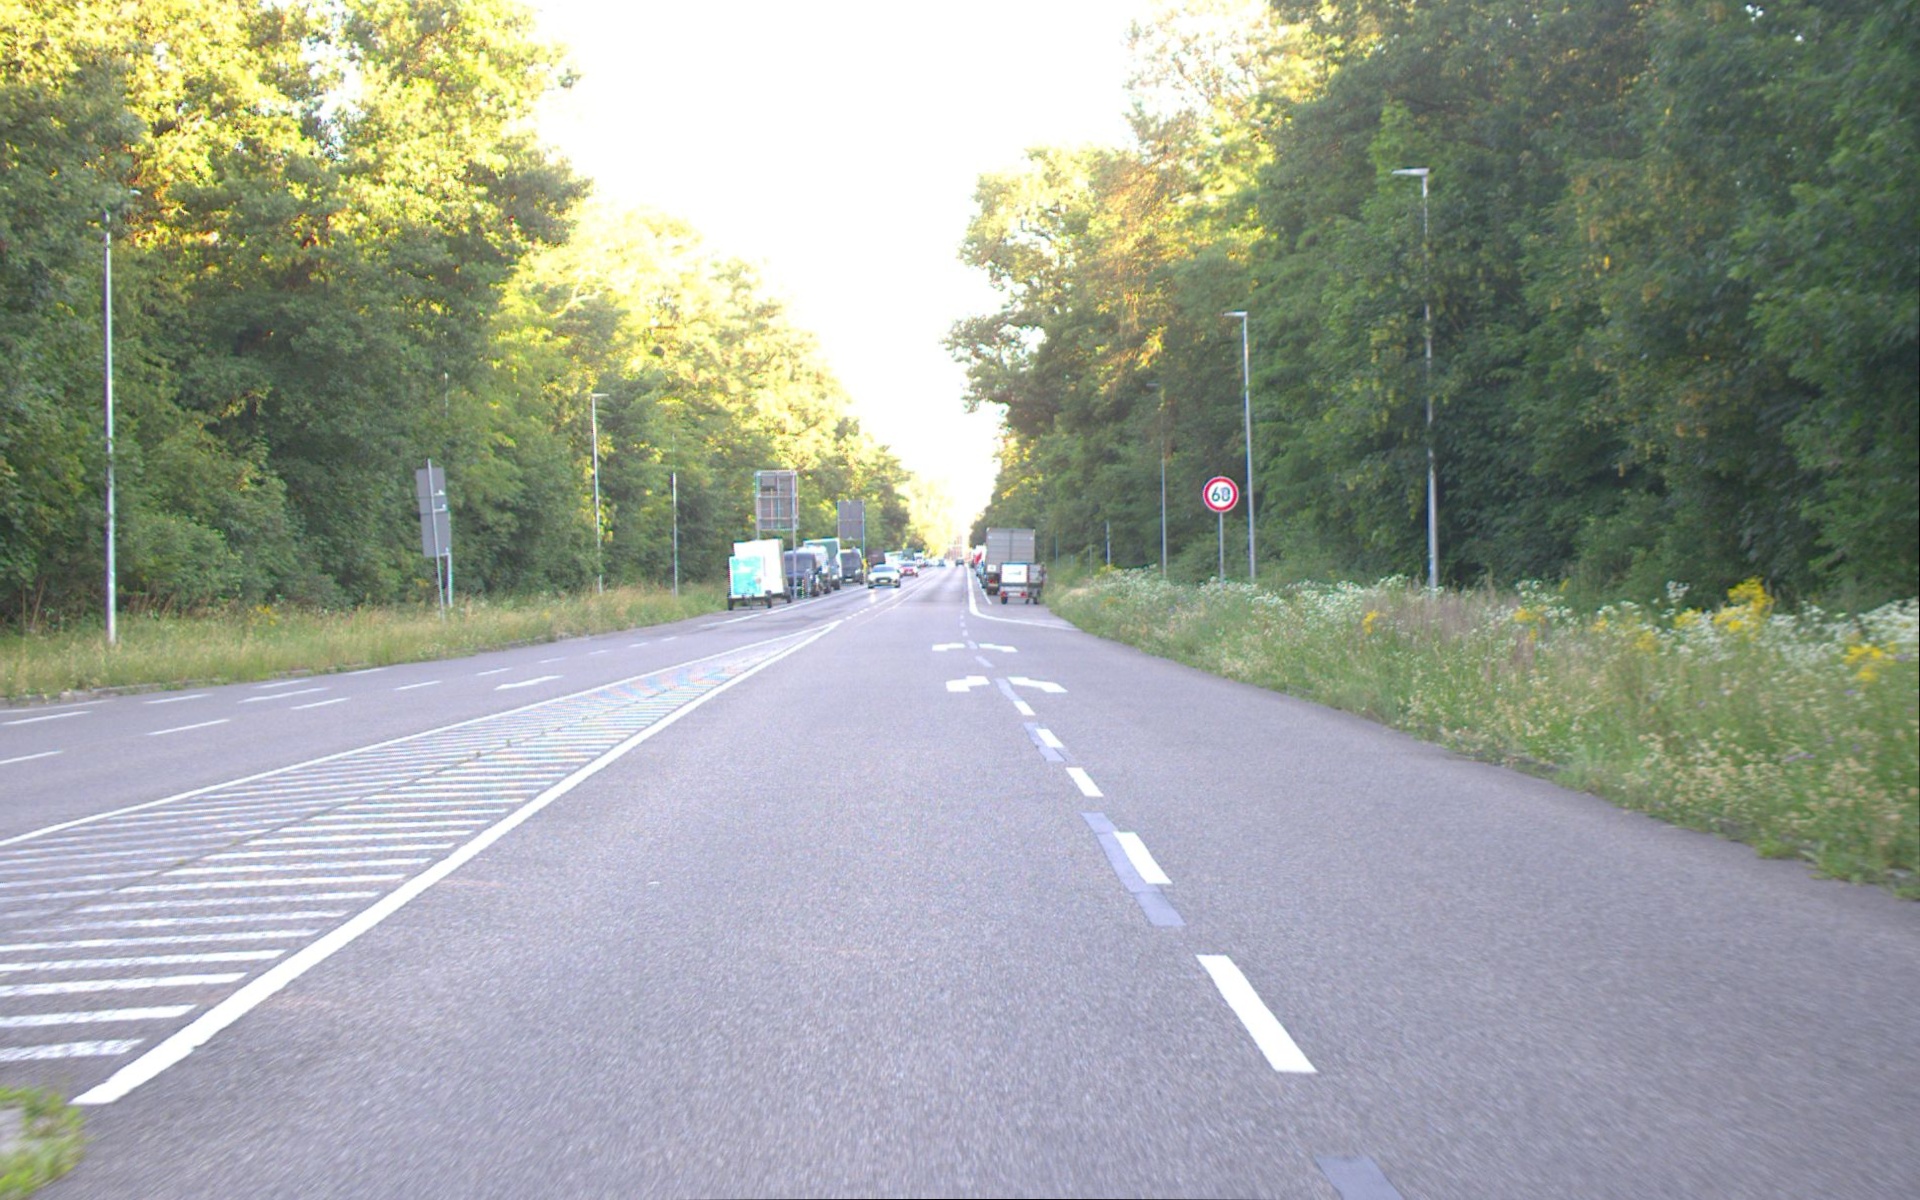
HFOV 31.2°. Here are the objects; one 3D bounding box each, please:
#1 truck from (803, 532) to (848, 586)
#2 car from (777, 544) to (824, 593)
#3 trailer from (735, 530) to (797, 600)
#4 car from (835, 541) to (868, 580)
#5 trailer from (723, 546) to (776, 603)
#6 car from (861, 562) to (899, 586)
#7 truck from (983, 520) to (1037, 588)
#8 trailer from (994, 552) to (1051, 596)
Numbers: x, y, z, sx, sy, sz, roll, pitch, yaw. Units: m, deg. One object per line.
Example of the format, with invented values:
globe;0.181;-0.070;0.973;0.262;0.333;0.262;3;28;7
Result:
truck;-8.578;-2.650;220.223;2.504;3.317;6.842;-2;1;0
car;-8.179;-1.647;177.007;1.993;2.356;5.766;-3;1;0
trailer;-8.526;-1.568;151.790;2.326;2.914;5.627;-3;1;-1
car;-7.999;-2.918;254.867;2.186;2.779;5.334;-2;1;0
trailer;-8.316;-1.039;136.180;1.817;2.160;4.143;-2;1;-1
car;-5.000;-1.627;216.243;2.063;1.430;4.465;-3;0;2
truck;2.474;-2.230;168.265;2.589;3.244;7.220;0;0;2
trailer;2.485;-1.021;135.698;1.457;1.656;3.775;-2;1;13
